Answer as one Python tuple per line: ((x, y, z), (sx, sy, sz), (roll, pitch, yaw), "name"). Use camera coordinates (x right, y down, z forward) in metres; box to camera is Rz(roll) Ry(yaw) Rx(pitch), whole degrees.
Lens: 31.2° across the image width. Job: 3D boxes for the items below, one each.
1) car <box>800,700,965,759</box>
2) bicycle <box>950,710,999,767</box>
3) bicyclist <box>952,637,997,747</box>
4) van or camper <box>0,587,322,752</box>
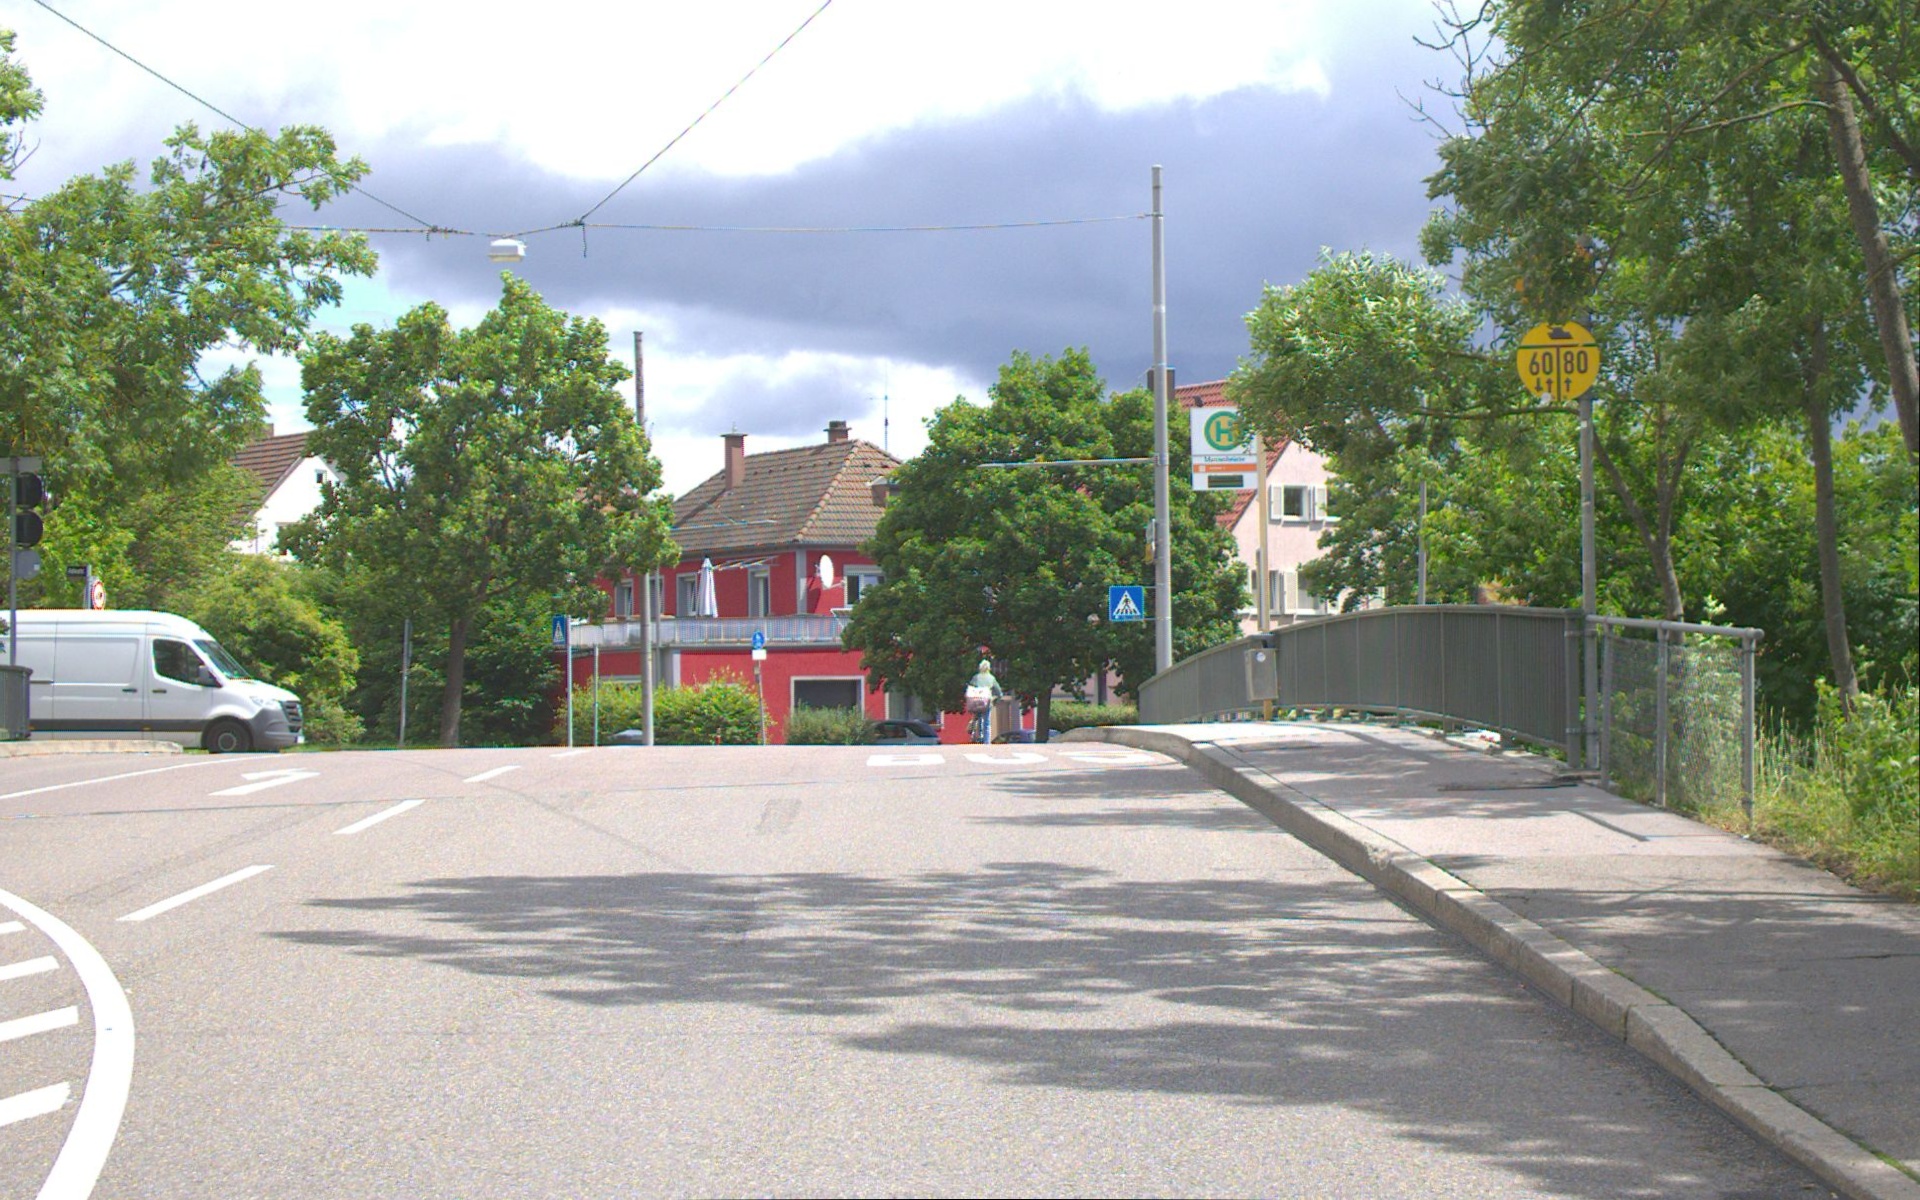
((-2.023, 3.415, 90.384), (4.064, 1.421, 1.645), (3, -3, -33), "car")
((0.254, 2.388, 59.130), (0.688, 0.875, 2.101), (0, -5, 4), "bicycle")
((0.262, 1.592, 59.247), (0.684, 1.820, 1.080), (0, -6, 4), "bicyclist")
((-14.000, 1.202, 58.270), (5.909, 2.559, 2.193), (-2, -4, 1), "van or camper")
